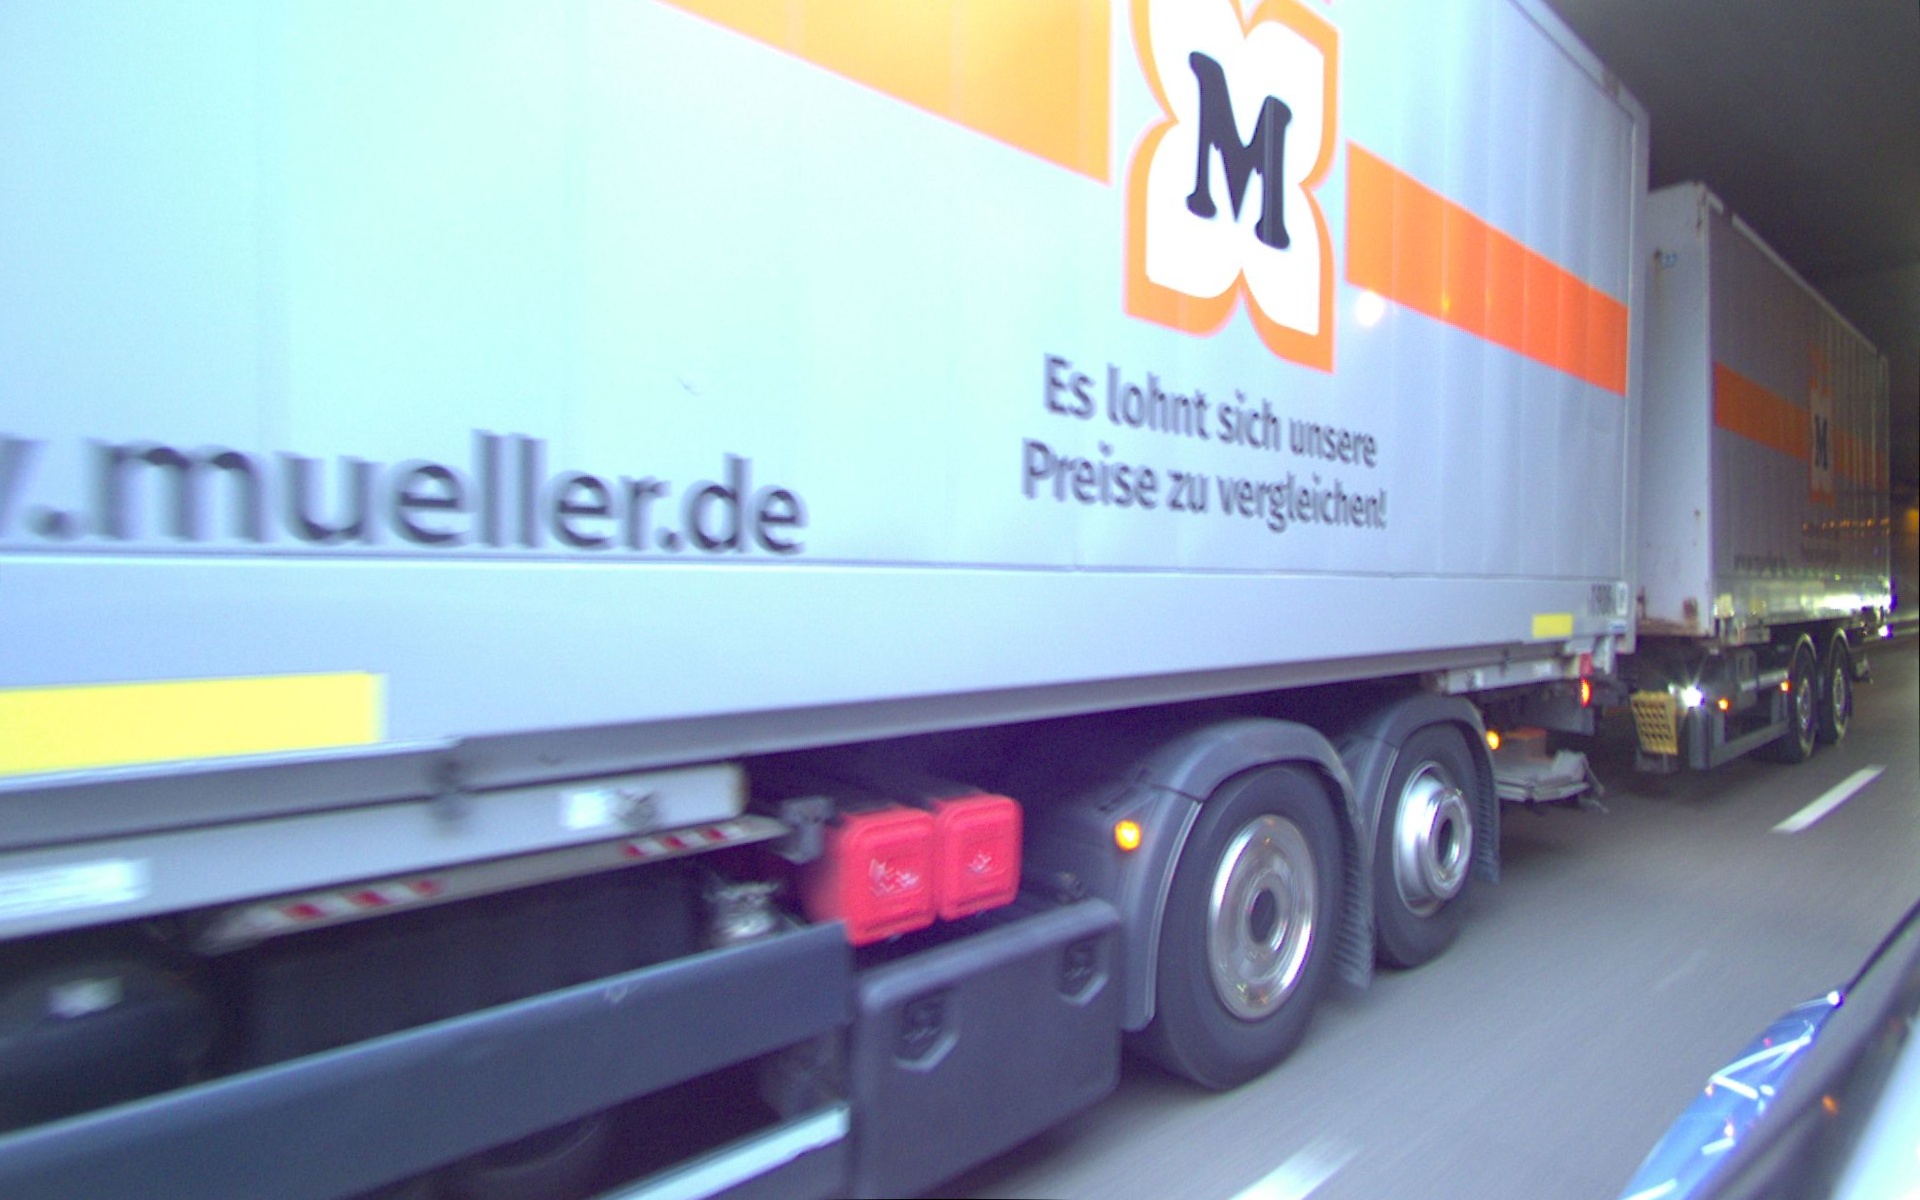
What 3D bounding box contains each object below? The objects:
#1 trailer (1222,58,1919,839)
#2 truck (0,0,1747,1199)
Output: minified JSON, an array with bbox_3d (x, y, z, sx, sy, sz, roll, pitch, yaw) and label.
[{"bbox_3d":[6.196,-0.786,9.017,8.790,3.908,2.880,-1,-1,-40],"label":"trailer"},{"bbox_3d":[-0.758,-0.686,2.995,9.735,3.964,2.893,-1,-1,-41],"label":"truck"}]
